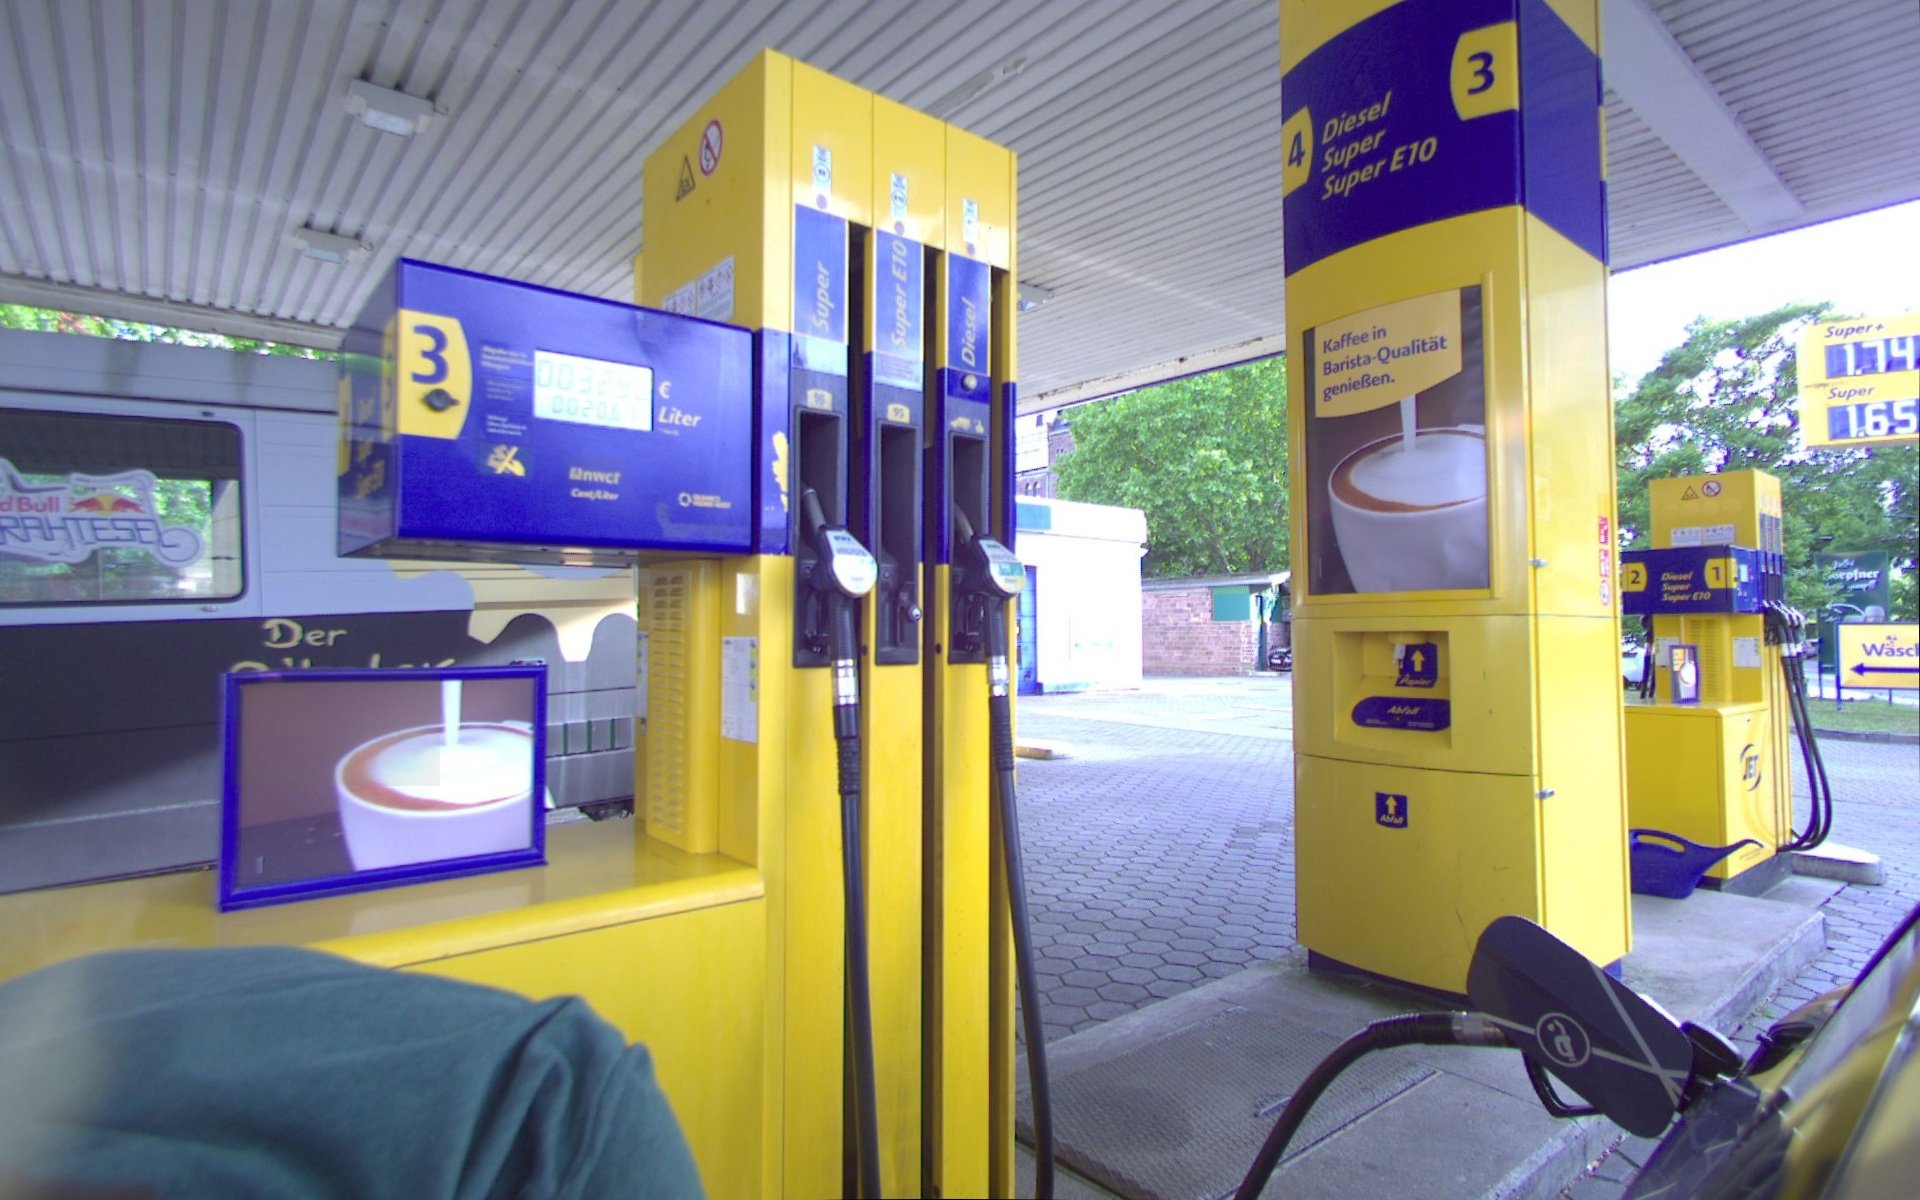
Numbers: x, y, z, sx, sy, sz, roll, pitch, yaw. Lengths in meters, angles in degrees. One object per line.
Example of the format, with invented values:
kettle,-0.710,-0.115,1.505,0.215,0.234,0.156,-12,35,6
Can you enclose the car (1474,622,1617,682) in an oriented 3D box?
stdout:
car,17.846,1.600,30.804,4.303,1.622,1.776,4,-4,-28

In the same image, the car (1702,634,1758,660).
car,46.758,2.832,61.545,1.736,1.487,4.529,-1,-2,25

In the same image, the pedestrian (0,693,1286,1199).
pedestrian,-0.333,0.750,0.548,0.662,1.298,0.751,0,0,-41

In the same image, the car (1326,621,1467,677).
car,13.886,1.541,32.139,4.303,1.622,1.777,2,-1,-28

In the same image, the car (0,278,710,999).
car,-4.108,0.162,4.895,5.197,2.726,2.258,1,-2,-39

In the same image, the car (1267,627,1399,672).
car,12.689,1.664,34.430,4.303,1.393,1.777,2,-1,-28

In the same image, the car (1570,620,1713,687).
car,18.356,1.456,27.205,4.308,1.622,1.774,4,-4,-35
